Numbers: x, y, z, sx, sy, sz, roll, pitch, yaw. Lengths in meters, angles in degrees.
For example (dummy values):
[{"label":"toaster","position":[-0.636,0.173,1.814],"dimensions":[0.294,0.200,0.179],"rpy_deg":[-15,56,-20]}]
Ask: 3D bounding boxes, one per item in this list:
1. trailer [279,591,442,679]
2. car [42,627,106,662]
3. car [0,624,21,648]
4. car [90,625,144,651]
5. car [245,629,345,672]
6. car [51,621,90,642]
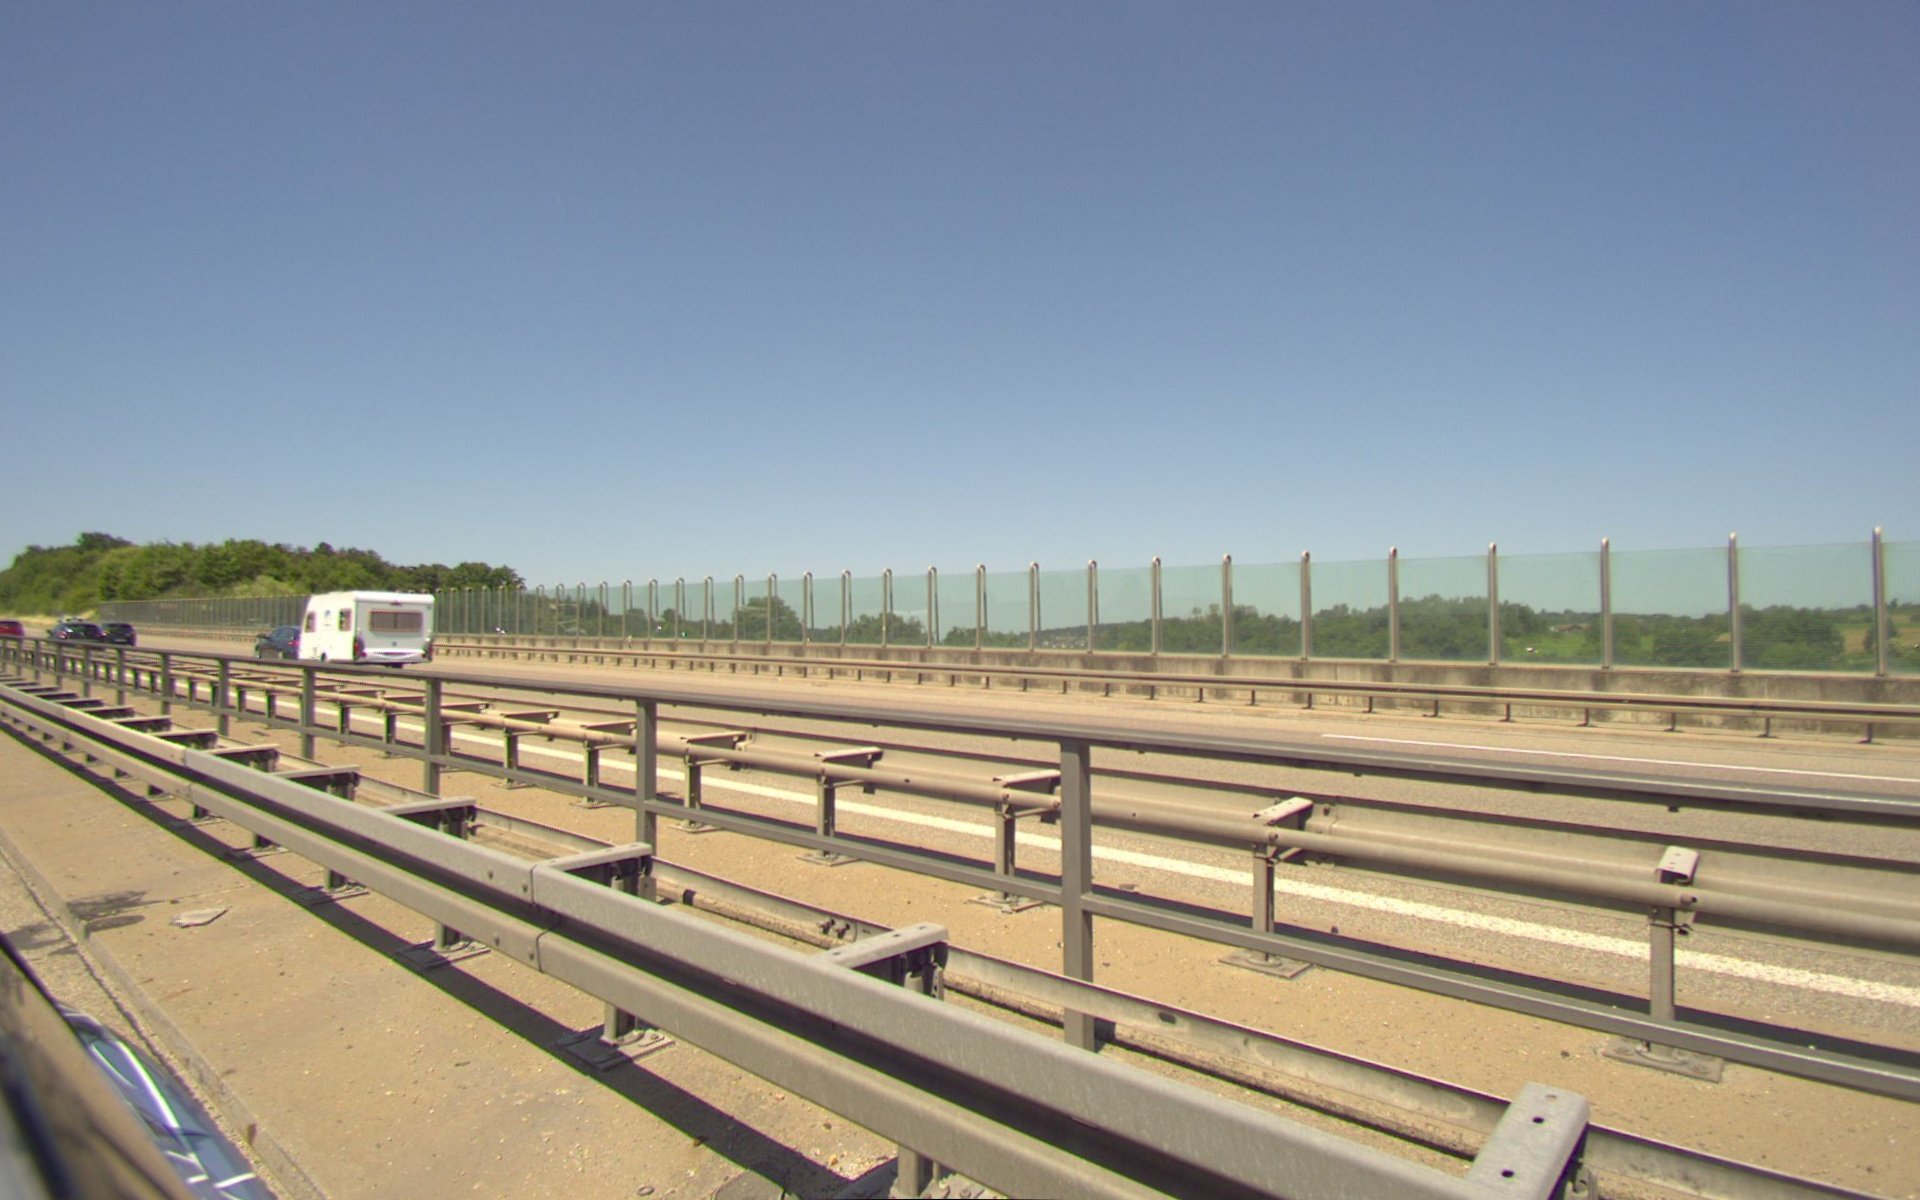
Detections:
[{"label":"trailer","position":[-19.424,1.128,32.633],"dimensions":[6.770,2.569,2.467],"rpy_deg":[-1,-4,41]},{"label":"car","position":[-39.325,1.945,44.886],"dimensions":[3.999,1.459,1.650],"rpy_deg":[-2,-4,42]},{"label":"car","position":[-60.926,2.258,64.036],"dimensions":[3.987,1.489,1.772],"rpy_deg":[-1,-3,41]},{"label":"car","position":[-50.393,2.273,60.468],"dimensions":[4.416,1.503,1.712],"rpy_deg":[-1,-4,41]},{"label":"car","position":[-23.866,1.786,36.262],"dimensions":[4.680,1.418,1.757],"rpy_deg":[-1,-4,41]},{"label":"car","position":[-84.087,3.007,95.690],"dimensions":[5.252,1.899,1.973],"rpy_deg":[-1,-4,41]}]
